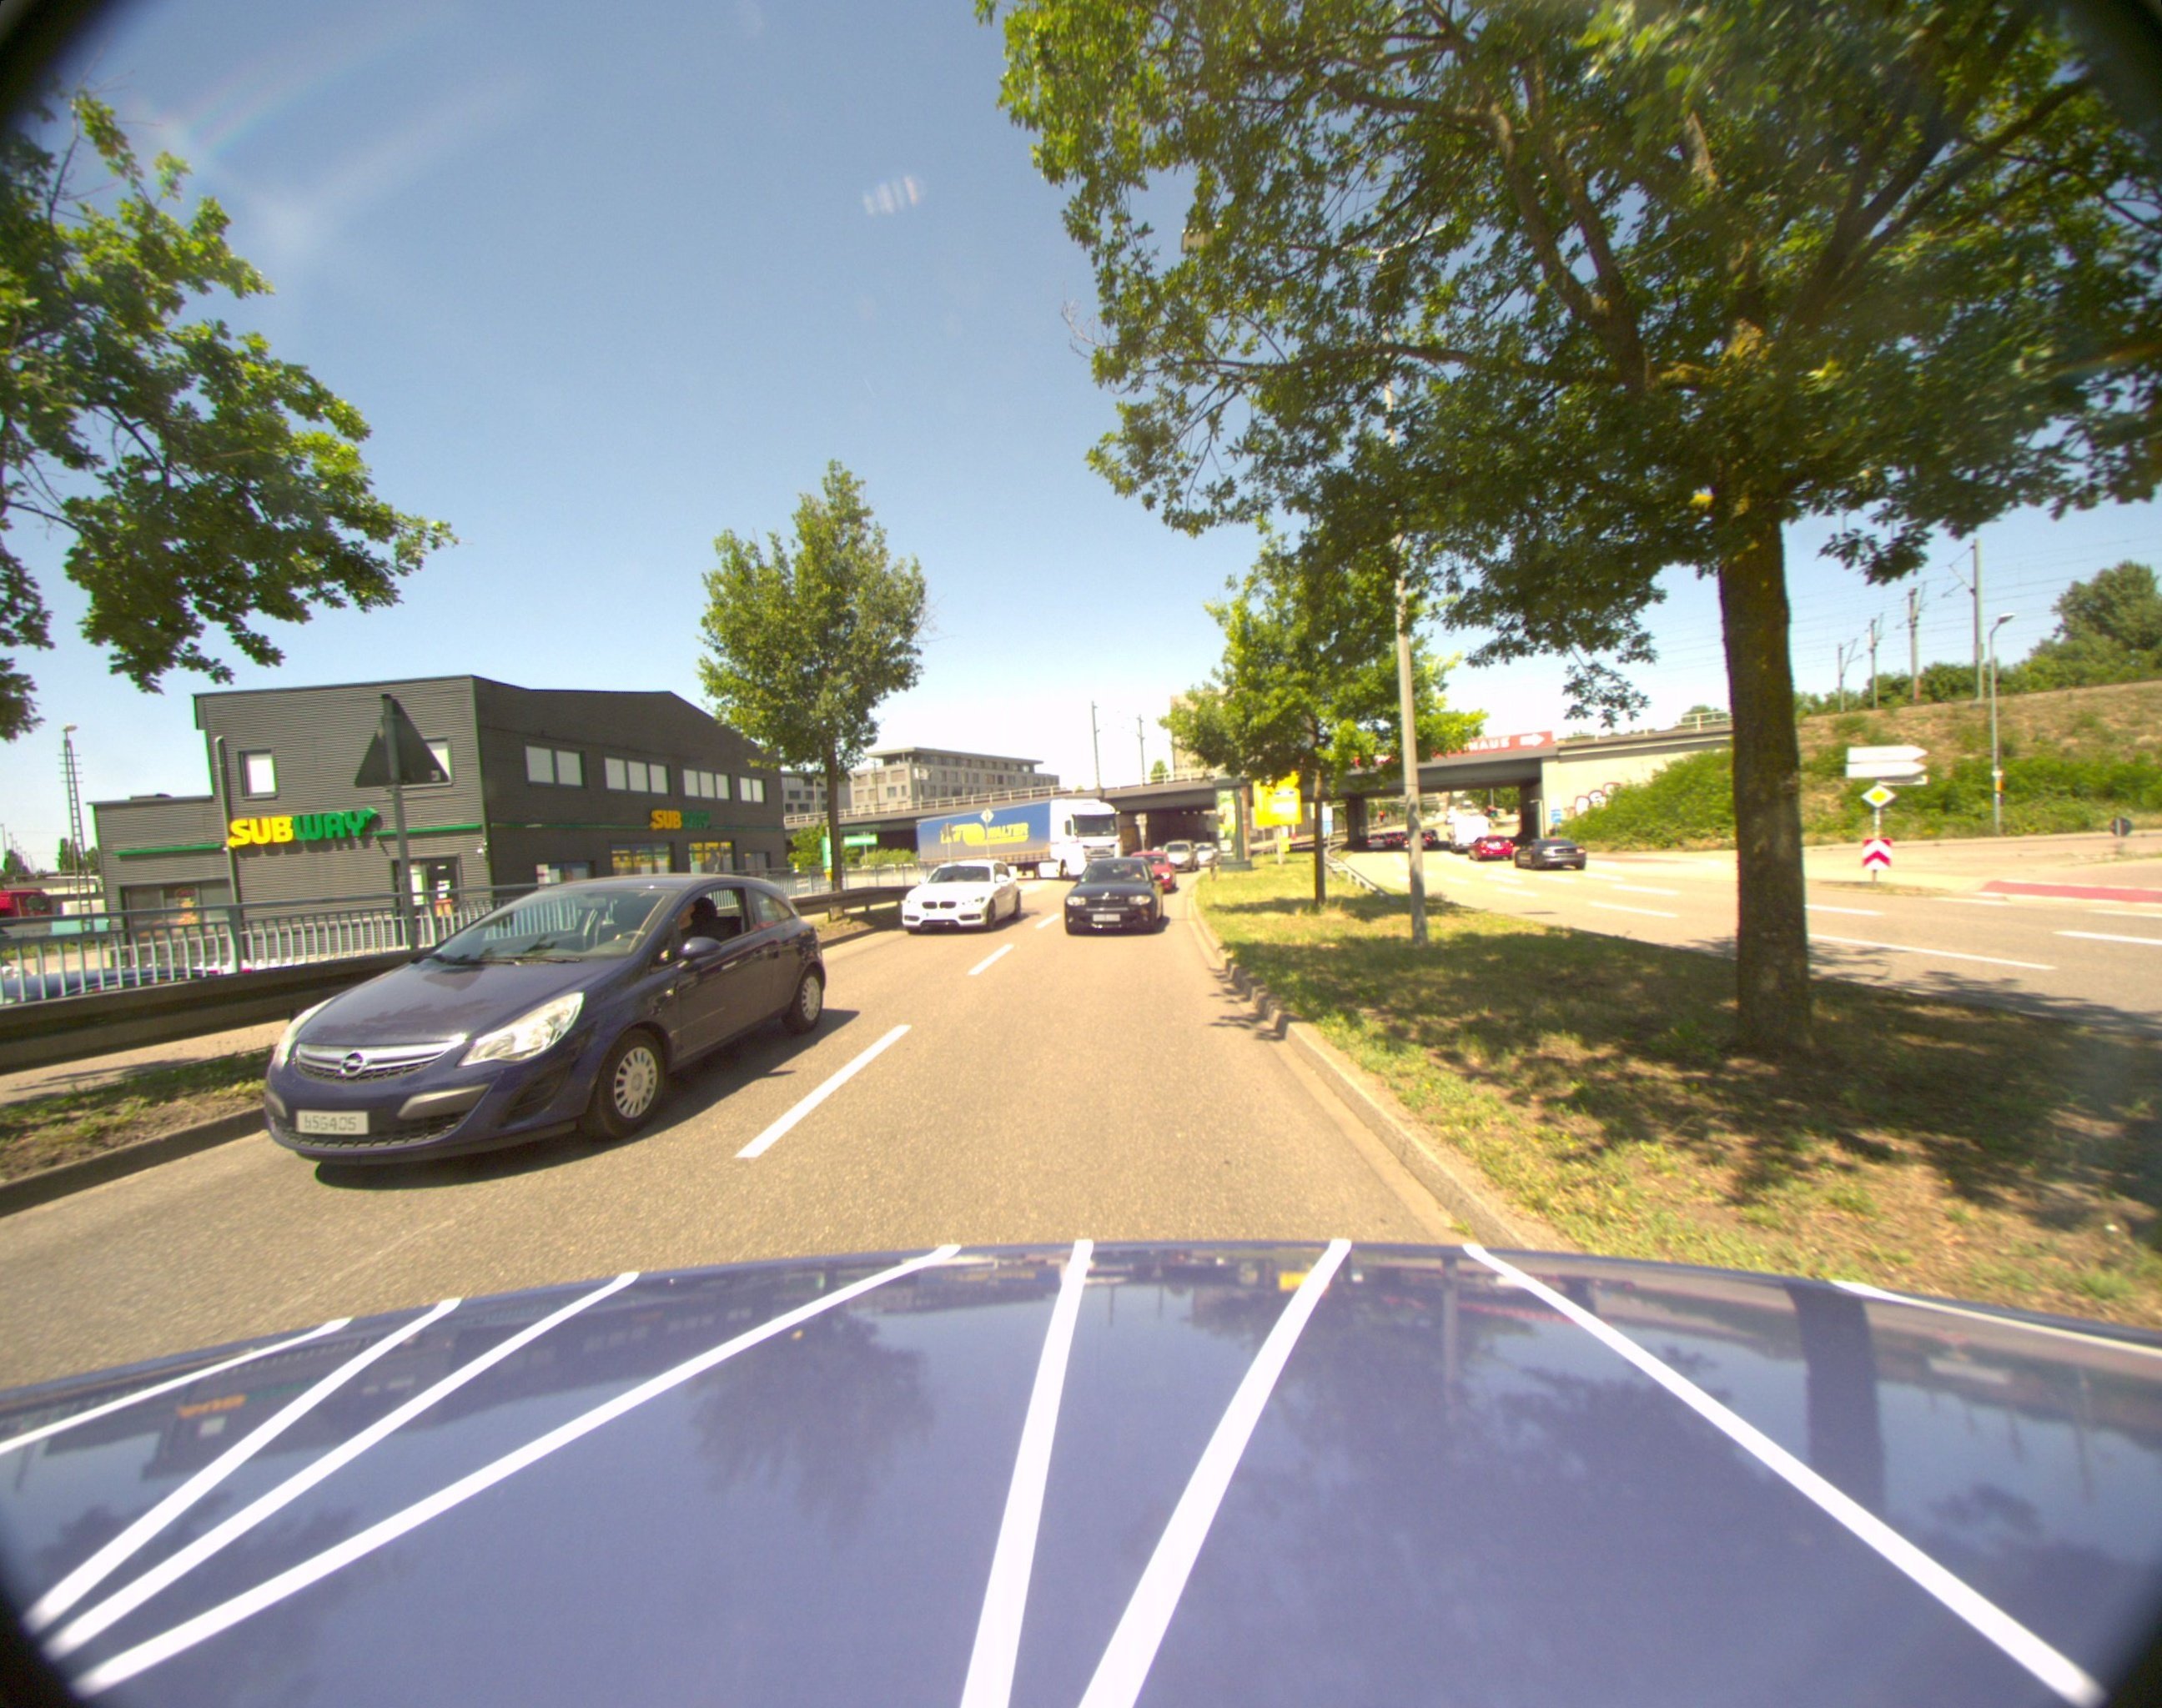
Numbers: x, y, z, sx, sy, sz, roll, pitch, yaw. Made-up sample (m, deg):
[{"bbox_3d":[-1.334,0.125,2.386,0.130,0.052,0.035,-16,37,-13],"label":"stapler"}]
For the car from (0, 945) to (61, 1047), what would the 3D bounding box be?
[{"bbox_3d":[-20.323,2.589,13.534,5.068,1.350,2.004,-1,2,42],"label":"car"}]

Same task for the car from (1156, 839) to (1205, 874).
[{"bbox_3d":[5.538,0.109,41.888,1.843,1.686,3.704,-2,2,21],"label":"car"}]

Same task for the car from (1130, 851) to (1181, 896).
[{"bbox_3d":[2.643,0.617,26.707,1.646,1.391,4.054,-1,1,7],"label":"car"}]

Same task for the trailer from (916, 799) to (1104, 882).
[{"bbox_3d":[-4.570,-0.548,43.667,2.504,4.067,13.868,-4,1,-43],"label":"trailer"}]

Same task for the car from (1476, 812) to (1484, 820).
[{"bbox_3d":[114.931,-10.909,218.883,1.836,2.002,4.006,-2,2,27],"label":"car"}]

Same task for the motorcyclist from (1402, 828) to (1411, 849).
[{"bbox_3d":[25.273,-1.219,59.031,0.587,1.617,0.563,-2,2,24],"label":"motorcyclist"}]

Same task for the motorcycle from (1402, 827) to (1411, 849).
[{"bbox_3d":[25.367,-1.261,59.245,0.598,1.669,2.428,-2,2,23],"label":"motorcycle"}]

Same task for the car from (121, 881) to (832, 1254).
[{"bbox_3d":[-3.312,1.018,5.288,1.650,1.436,3.891,-2,0,3],"label":"car"}]

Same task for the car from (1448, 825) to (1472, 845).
[{"bbox_3d":[34.297,-1.742,68.681,1.773,1.658,4.021,-2,1,28],"label":"car"}]

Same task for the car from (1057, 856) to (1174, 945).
[{"bbox_3d":[0.842,0.841,15.410,1.680,1.409,4.059,-2,1,12],"label":"car"}]

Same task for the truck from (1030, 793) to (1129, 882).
[{"bbox_3d":[-0.205,-0.805,37.936,2.579,4.079,5.750,-3,2,-25],"label":"truck"}]

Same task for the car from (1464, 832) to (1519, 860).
[{"bbox_3d":[23.087,-0.489,42.905,1.833,1.429,4.530,-2,1,17],"label":"car"}]

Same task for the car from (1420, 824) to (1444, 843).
[{"bbox_3d":[37.638,-2.219,81.362,1.903,1.849,4.006,-2,2,30],"label":"car"}]

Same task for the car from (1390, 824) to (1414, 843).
[{"bbox_3d":[35.084,-2.261,83.033,1.903,1.849,4.006,-2,2,30],"label":"car"}]

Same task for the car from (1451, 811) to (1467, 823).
[{"bbox_3d":[69.193,-6.741,138.998,1.995,2.091,6.393,-2,2,31],"label":"car"}]

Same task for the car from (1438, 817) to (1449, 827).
[{"bbox_3d":[81.073,-7.181,169.998,1.995,2.002,4.006,-2,2,29],"label":"car"}]

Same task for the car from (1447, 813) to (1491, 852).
[{"bbox_3d":[27.152,-1.430,53.342,2.096,2.485,5.818,-1,0,21],"label":"car"}]

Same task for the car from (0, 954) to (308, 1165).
[{"bbox_3d":[-10.595,2.080,7.529,1.636,1.523,3.900,-2,1,4],"label":"car"}]

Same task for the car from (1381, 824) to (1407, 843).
[{"bbox_3d":[32.160,-2.099,78.045,1.903,1.849,4.006,-2,2,30],"label":"car"}]

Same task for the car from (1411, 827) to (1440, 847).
[{"bbox_3d":[28.407,-1.392,62.584,1.635,1.558,4.080,-1,1,32],"label":"car"}]

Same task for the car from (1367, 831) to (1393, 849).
[{"bbox_3d":[25.896,-1.219,65.657,1.635,1.395,4.228,0,2,28],"label":"car"}]

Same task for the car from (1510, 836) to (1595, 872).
[{"bbox_3d":[20.203,-0.050,32.758,1.812,1.326,4.573,-2,1,14],"label":"car"}]

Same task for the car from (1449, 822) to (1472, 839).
[{"bbox_3d":[36.563,-2.237,73.167,1.571,1.494,3.413,-1,2,34],"label":"car"}]

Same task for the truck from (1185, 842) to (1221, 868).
[{"bbox_3d":[7.985,0.021,49.319,1.729,1.493,4.004,-2,1,17],"label":"truck"}]

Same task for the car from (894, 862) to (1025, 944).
[{"bbox_3d":[-2.464,0.956,16.508,1.762,1.435,4.054,-1,1,6],"label":"car"}]
